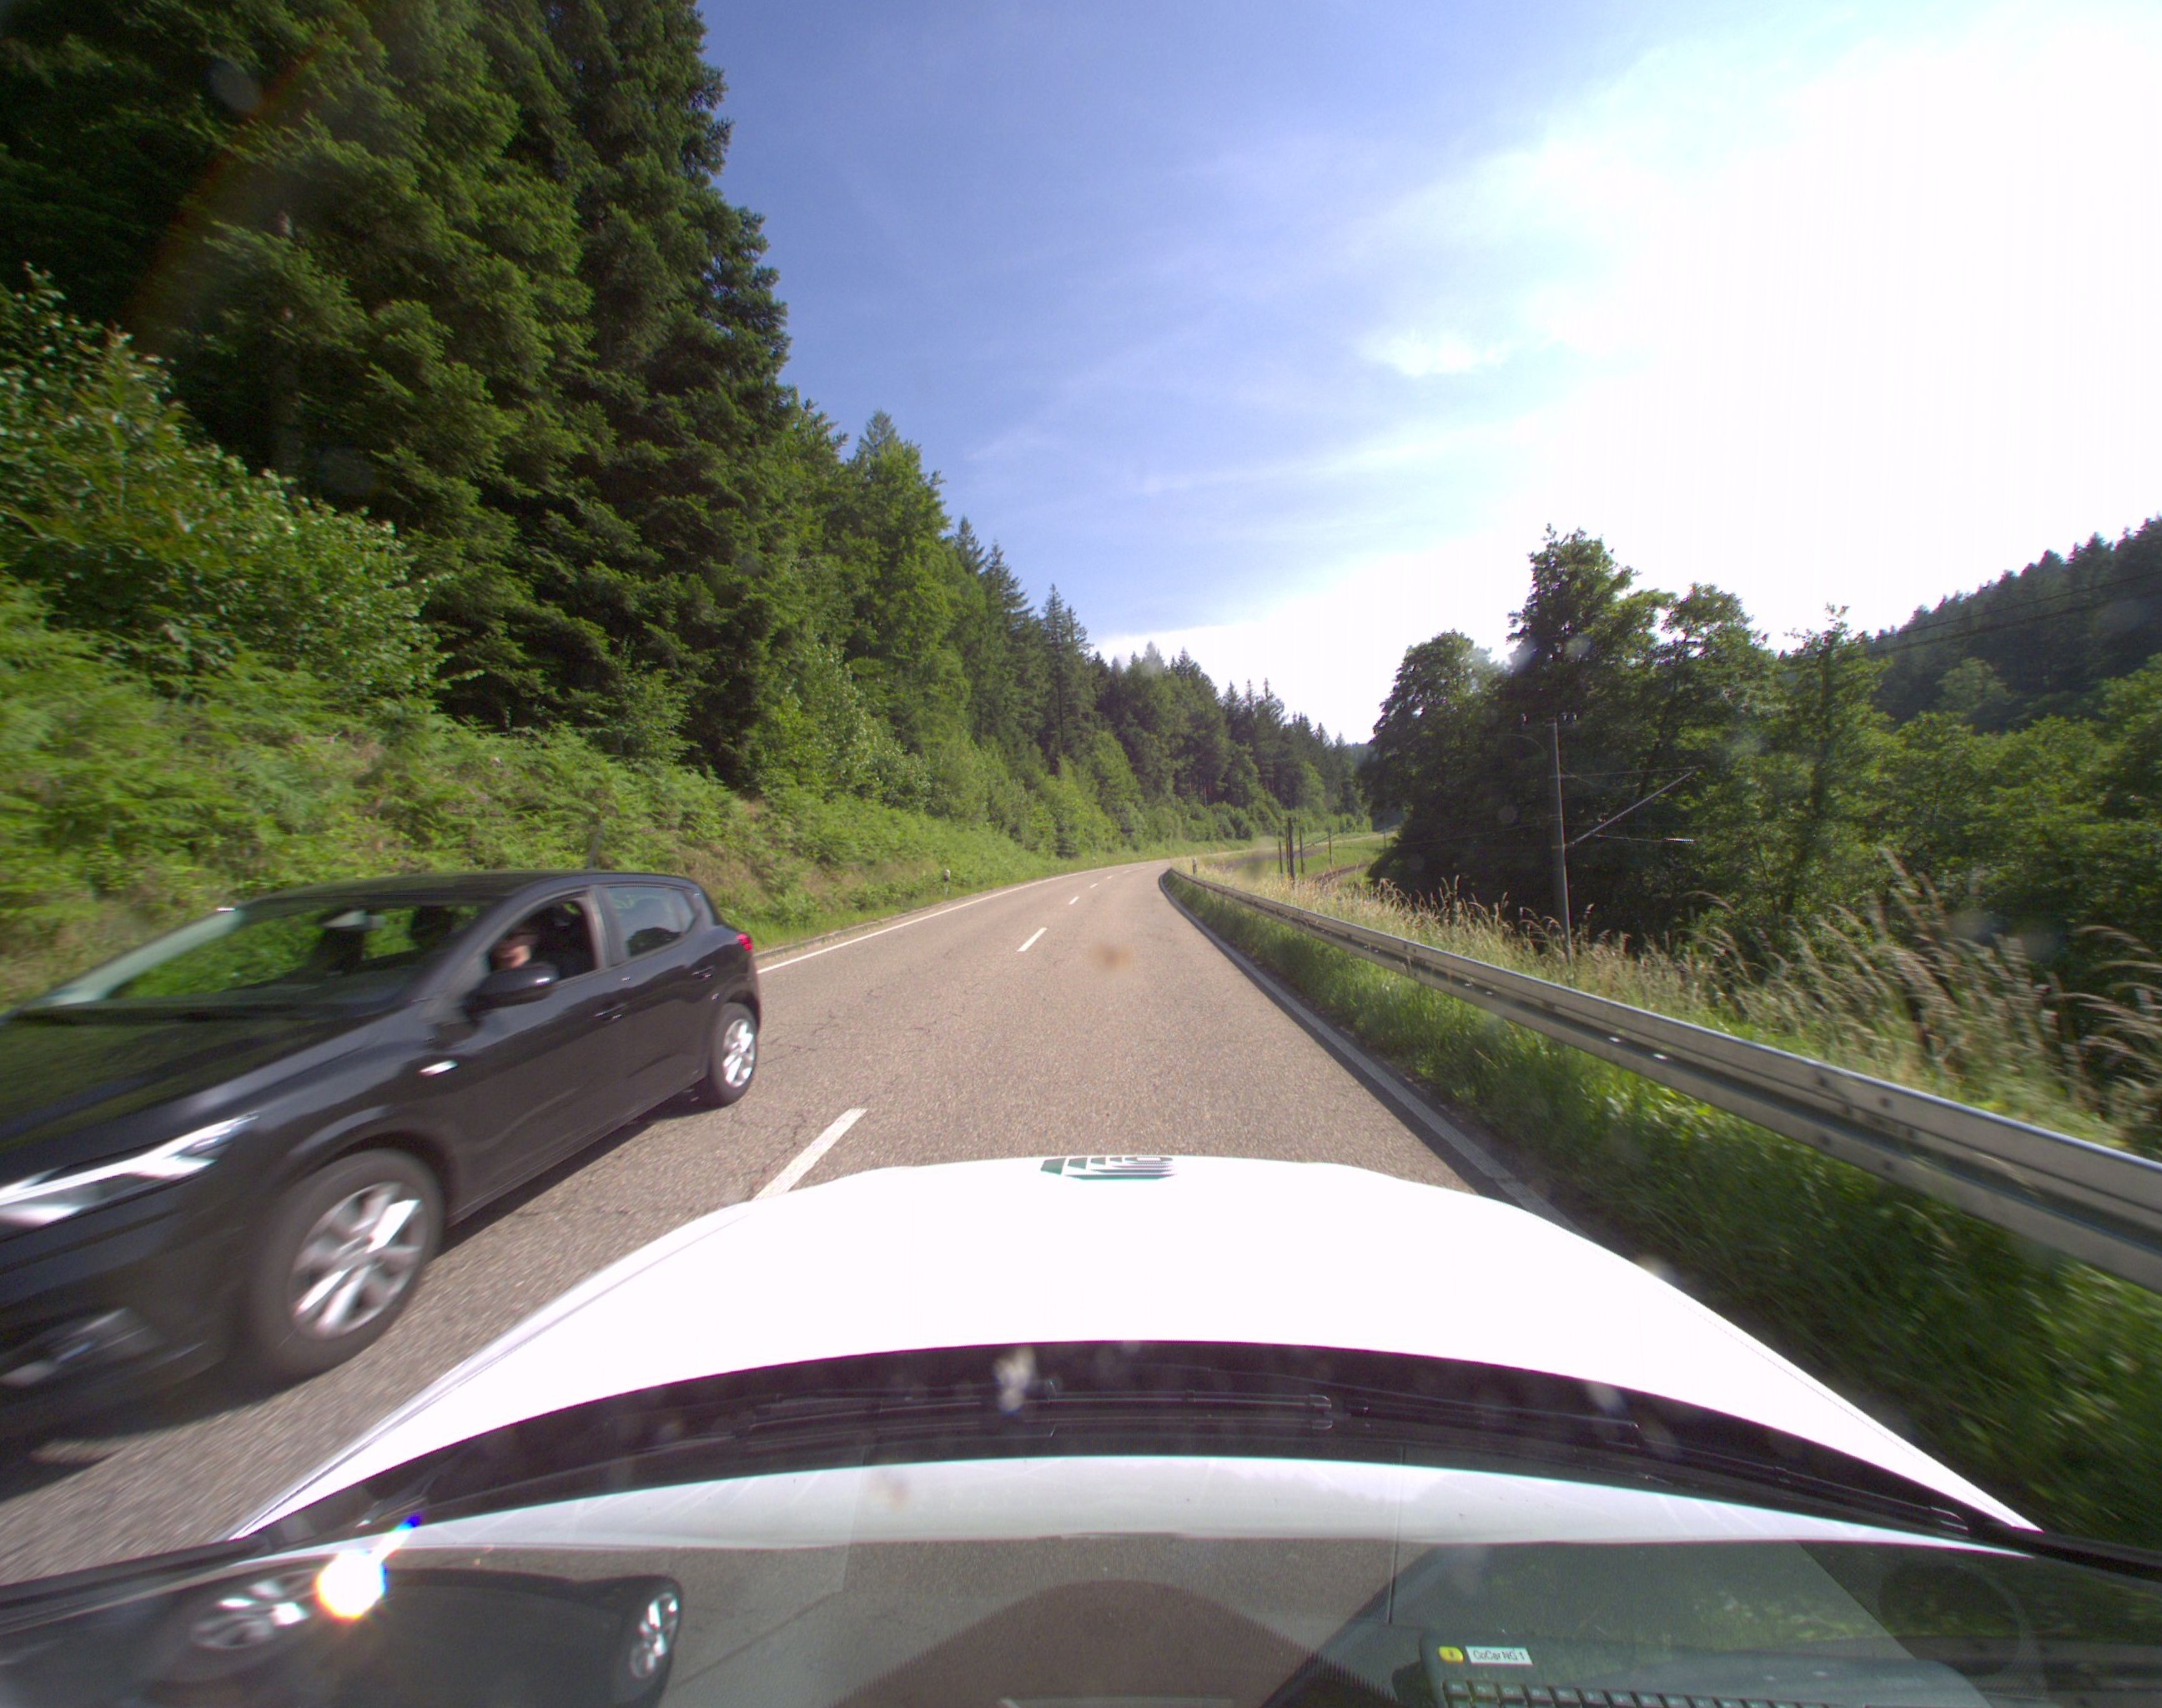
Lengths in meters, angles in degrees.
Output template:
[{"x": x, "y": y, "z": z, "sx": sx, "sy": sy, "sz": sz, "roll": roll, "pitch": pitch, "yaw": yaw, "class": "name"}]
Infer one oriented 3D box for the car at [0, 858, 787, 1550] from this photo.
[{"x": -3.119, "y": 0.827, "z": 3.833, "sx": 1.851, "sy": 1.529, "sz": 4.001, "roll": -2, "pitch": 0, "yaw": 2, "class": "car"}]
